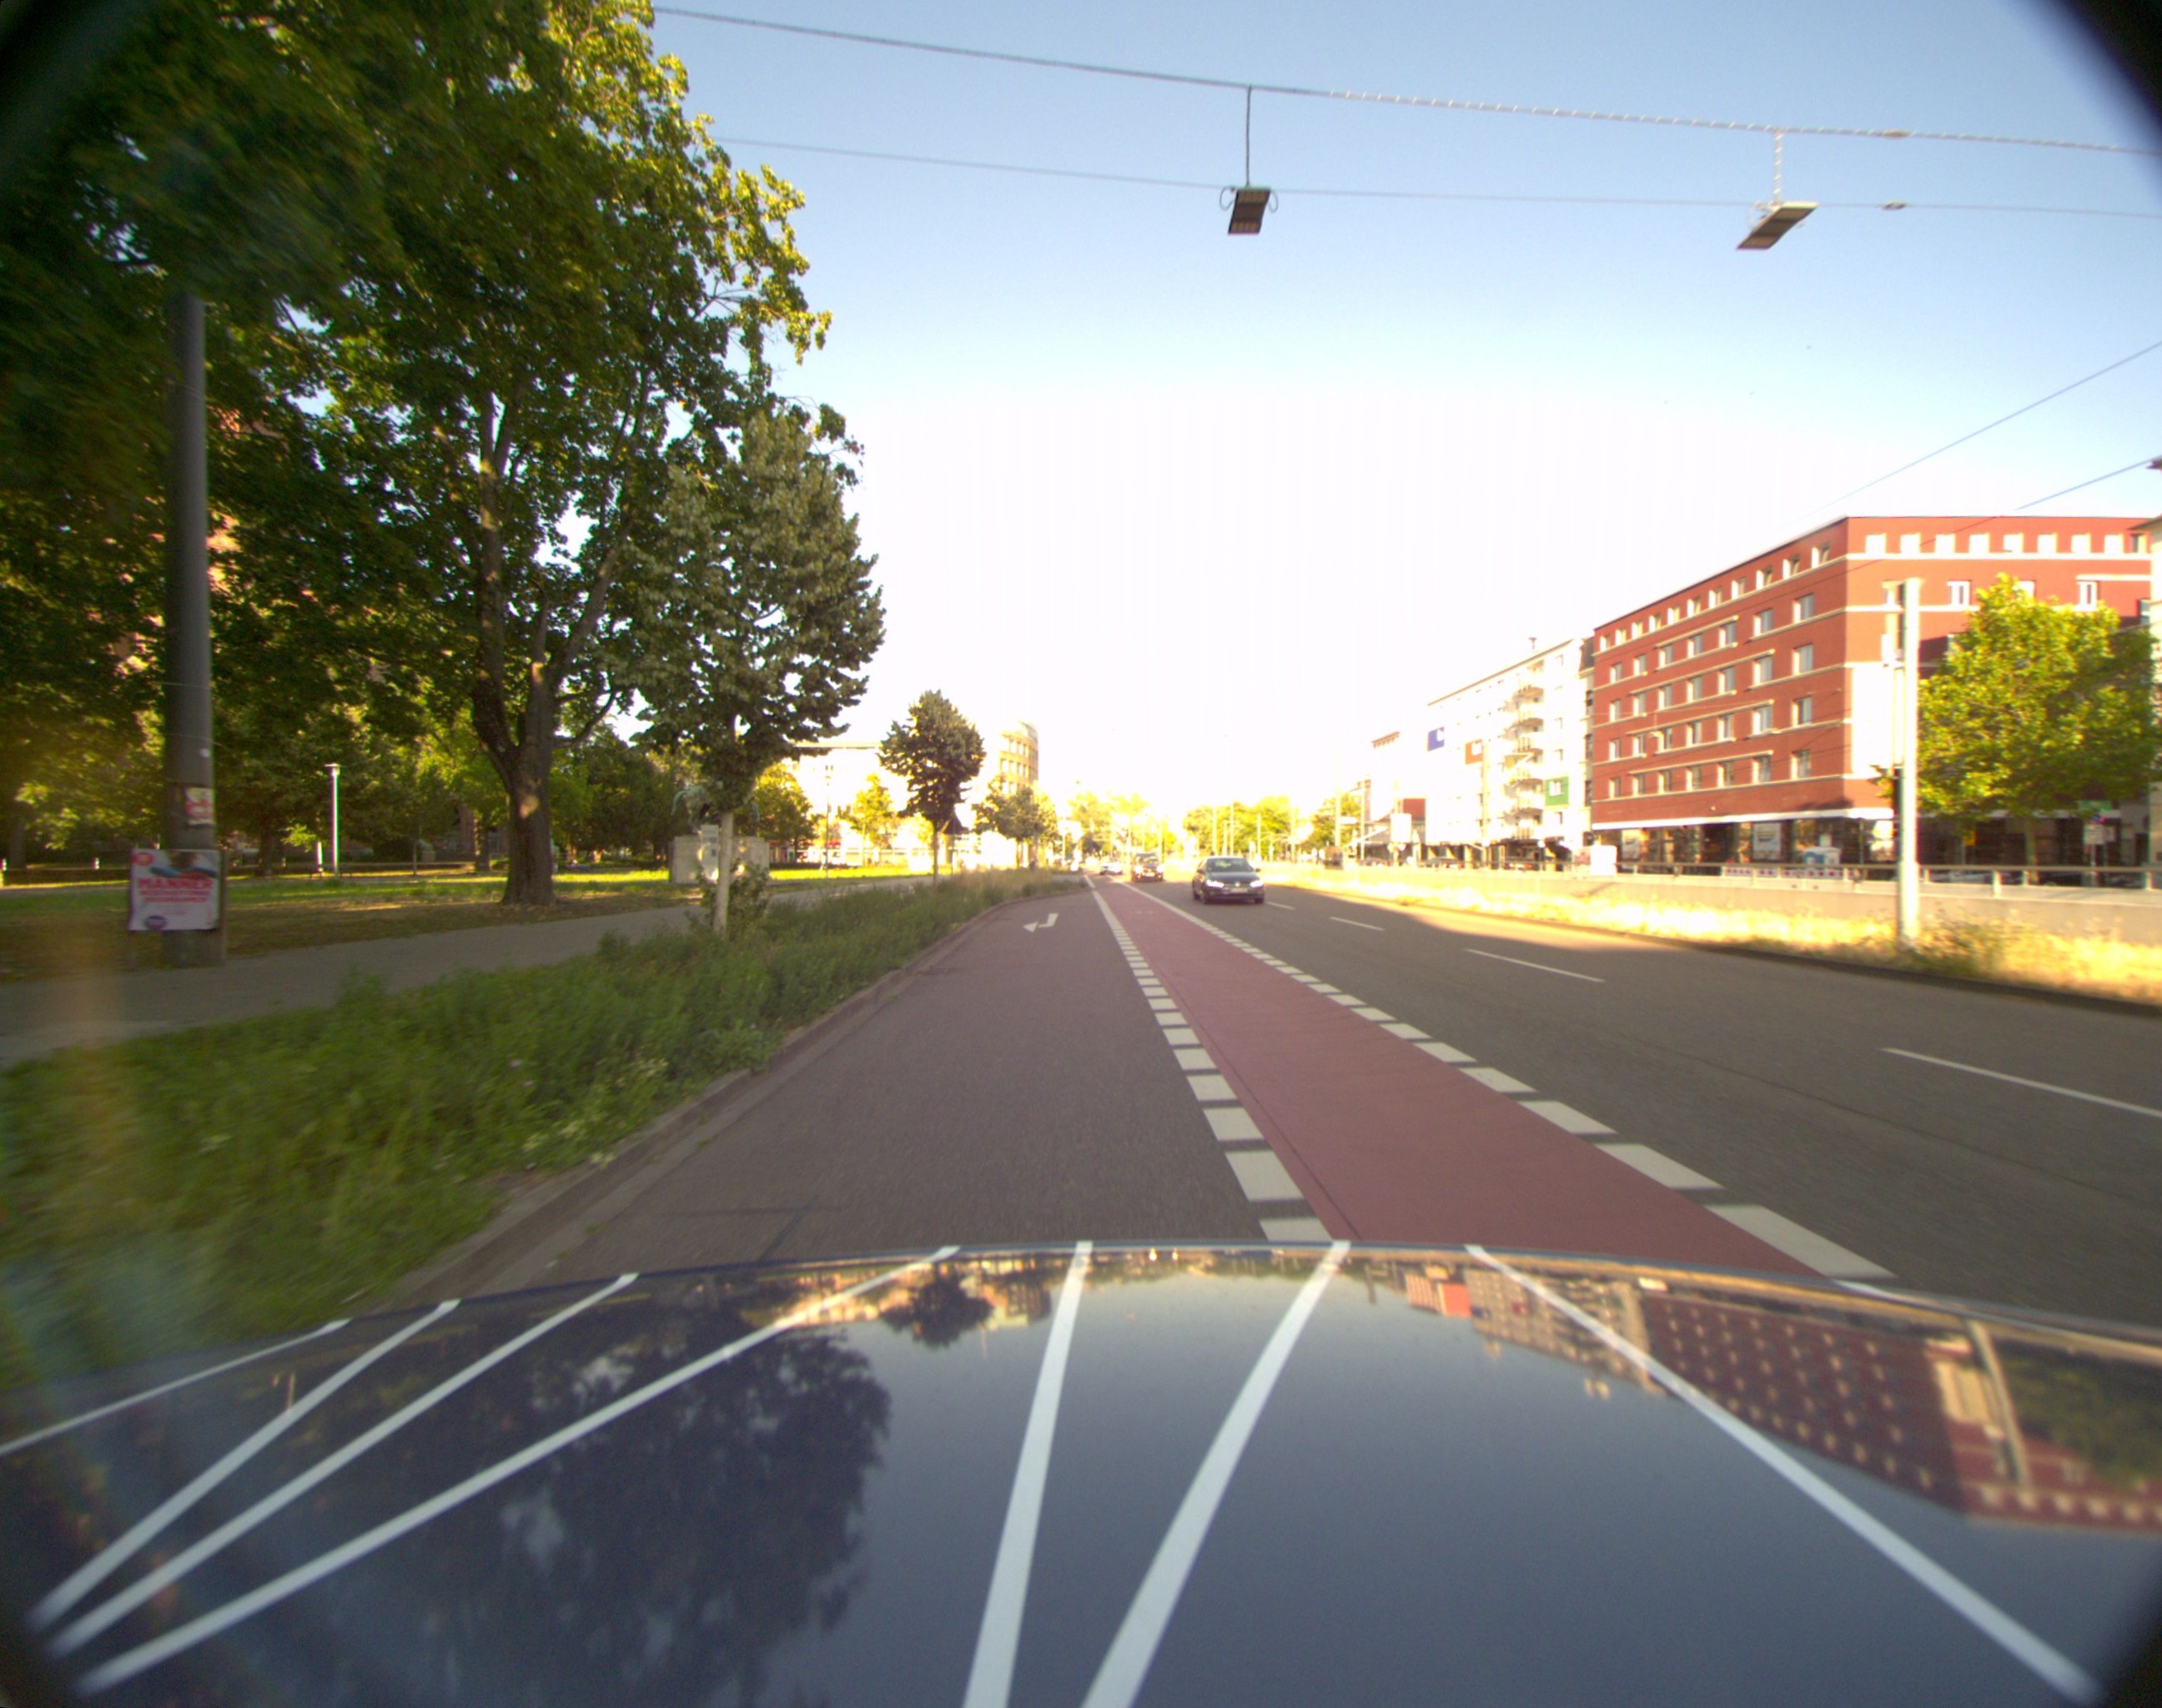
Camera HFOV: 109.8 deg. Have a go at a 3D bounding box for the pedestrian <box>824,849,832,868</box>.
[{"bbox_3d":[-23.248,0.439,69.799,0.644,1.729,0.595,0,1,-33],"label":"pedestrian"}]

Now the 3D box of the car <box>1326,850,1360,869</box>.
[{"bbox_3d":[28.009,0.552,81.463,1.999,2.002,4.774,0,1,0],"label":"car"}]

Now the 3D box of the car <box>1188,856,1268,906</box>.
[{"bbox_3d":[4.538,0.791,24.026,1.769,1.418,4.245,-1,0,1],"label":"car"}]

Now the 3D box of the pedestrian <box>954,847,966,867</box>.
[{"bbox_3d":[-10.390,0.250,65.375,0.740,1.640,0.916,3,0,4],"label":"pedestrian"}]

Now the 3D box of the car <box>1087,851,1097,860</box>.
[{"bbox_3d":[1.982,0.276,137.101,1.770,1.464,4.013,-2,1,0],"label":"car"}]

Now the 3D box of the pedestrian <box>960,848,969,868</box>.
[{"bbox_3d":[-10.221,0.368,66.555,0.598,1.679,0.782,2,0,4],"label":"pedestrian"}]

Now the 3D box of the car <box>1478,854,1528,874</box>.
[{"bbox_3d":[38.313,0.866,69.114,1.998,1.786,4.742,0,0,1],"label":"car"}]

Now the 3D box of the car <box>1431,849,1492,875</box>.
[{"bbox_3d":[27.052,0.550,54.265,1.998,1.808,4.980,0,0,2],"label":"car"}]

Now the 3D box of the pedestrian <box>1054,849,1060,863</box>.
[{"bbox_3d":[-3.090,0.274,97.489,0.651,1.714,0.715,0,1,2],"label":"pedestrian"}]

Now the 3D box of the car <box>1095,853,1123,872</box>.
[{"bbox_3d":[2.398,0.697,66.150,1.834,1.528,4.276,-2,0,-5],"label":"car"}]

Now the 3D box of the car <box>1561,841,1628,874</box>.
[{"bbox_3d":[34.968,0.223,51.884,1.956,2.121,4.575,1,0,7],"label":"car"}]

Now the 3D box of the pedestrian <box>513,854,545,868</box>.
[{"bbox_3d":[-40.483,0.519,55.750,1.381,0.988,1.285,0,0,11],"label":"pedestrian"}]

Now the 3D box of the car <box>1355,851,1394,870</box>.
[{"bbox_3d":[27.969,0.588,72.506,1.998,1.786,4.895,0,0,2],"label":"car"}]

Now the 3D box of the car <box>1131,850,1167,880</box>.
[{"bbox_3d":[4.033,0.604,45.704,1.770,1.722,4.147,0,0,0],"label":"car"}]
